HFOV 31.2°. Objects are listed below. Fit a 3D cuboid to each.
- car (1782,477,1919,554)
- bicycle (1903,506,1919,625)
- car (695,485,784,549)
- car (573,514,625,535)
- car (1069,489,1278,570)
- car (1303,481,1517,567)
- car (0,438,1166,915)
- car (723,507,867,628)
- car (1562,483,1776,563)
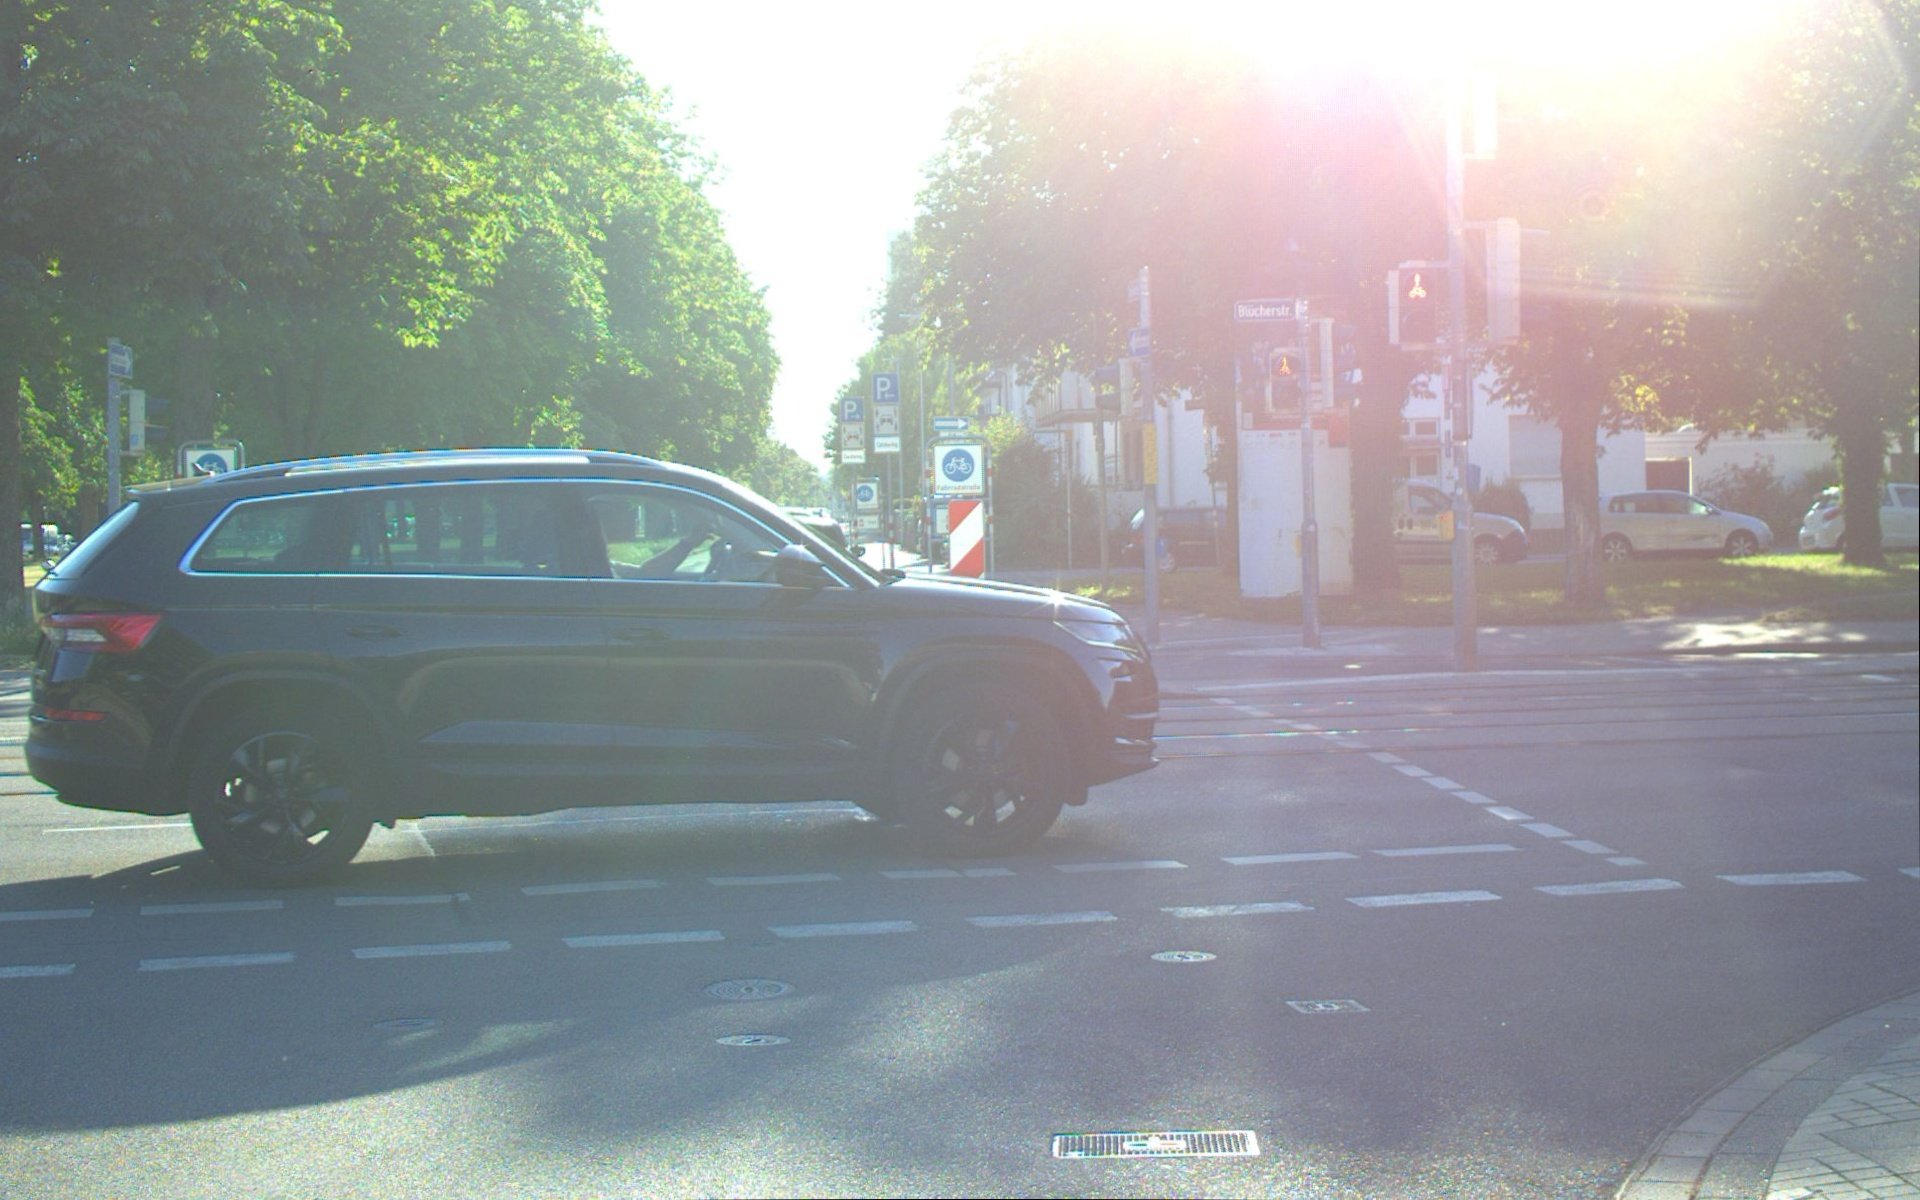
[{"bbox_3d":[17.929,-1.640,66.004,3.844,1.422,1.598,-1,1,-6],"label":"car"},{"bbox_3d":[10.081,-0.353,32.835,1.954,1.128,0.620,-1,1,1],"label":"bicycle"},{"bbox_3d":[-4.971,-1.891,77.944,1.845,1.389,3.829,-1,2,-1],"label":"car"},{"bbox_3d":[-25.687,-5.344,244.637,3.519,1.422,1.603,-1,1,-3],"label":"car"},{"bbox_3d":[4.017,-1.345,64.965,3.779,1.422,1.744,-1,3,-2],"label":"car"},{"bbox_3d":[8.524,-1.451,65.290,3.779,1.520,1.744,-1,3,-2],"label":"car"},{"bbox_3d":[-1.613,0.249,14.242,4.547,1.658,1.880,-2,2,-11],"label":"car"},{"bbox_3d":[-2.066,-0.442,43.864,1.641,1.446,3.307,-1,2,0],"label":"car"},{"bbox_3d":[13.428,-1.465,65.234,3.662,1.422,1.532,-1,1,-6],"label":"car"}]
